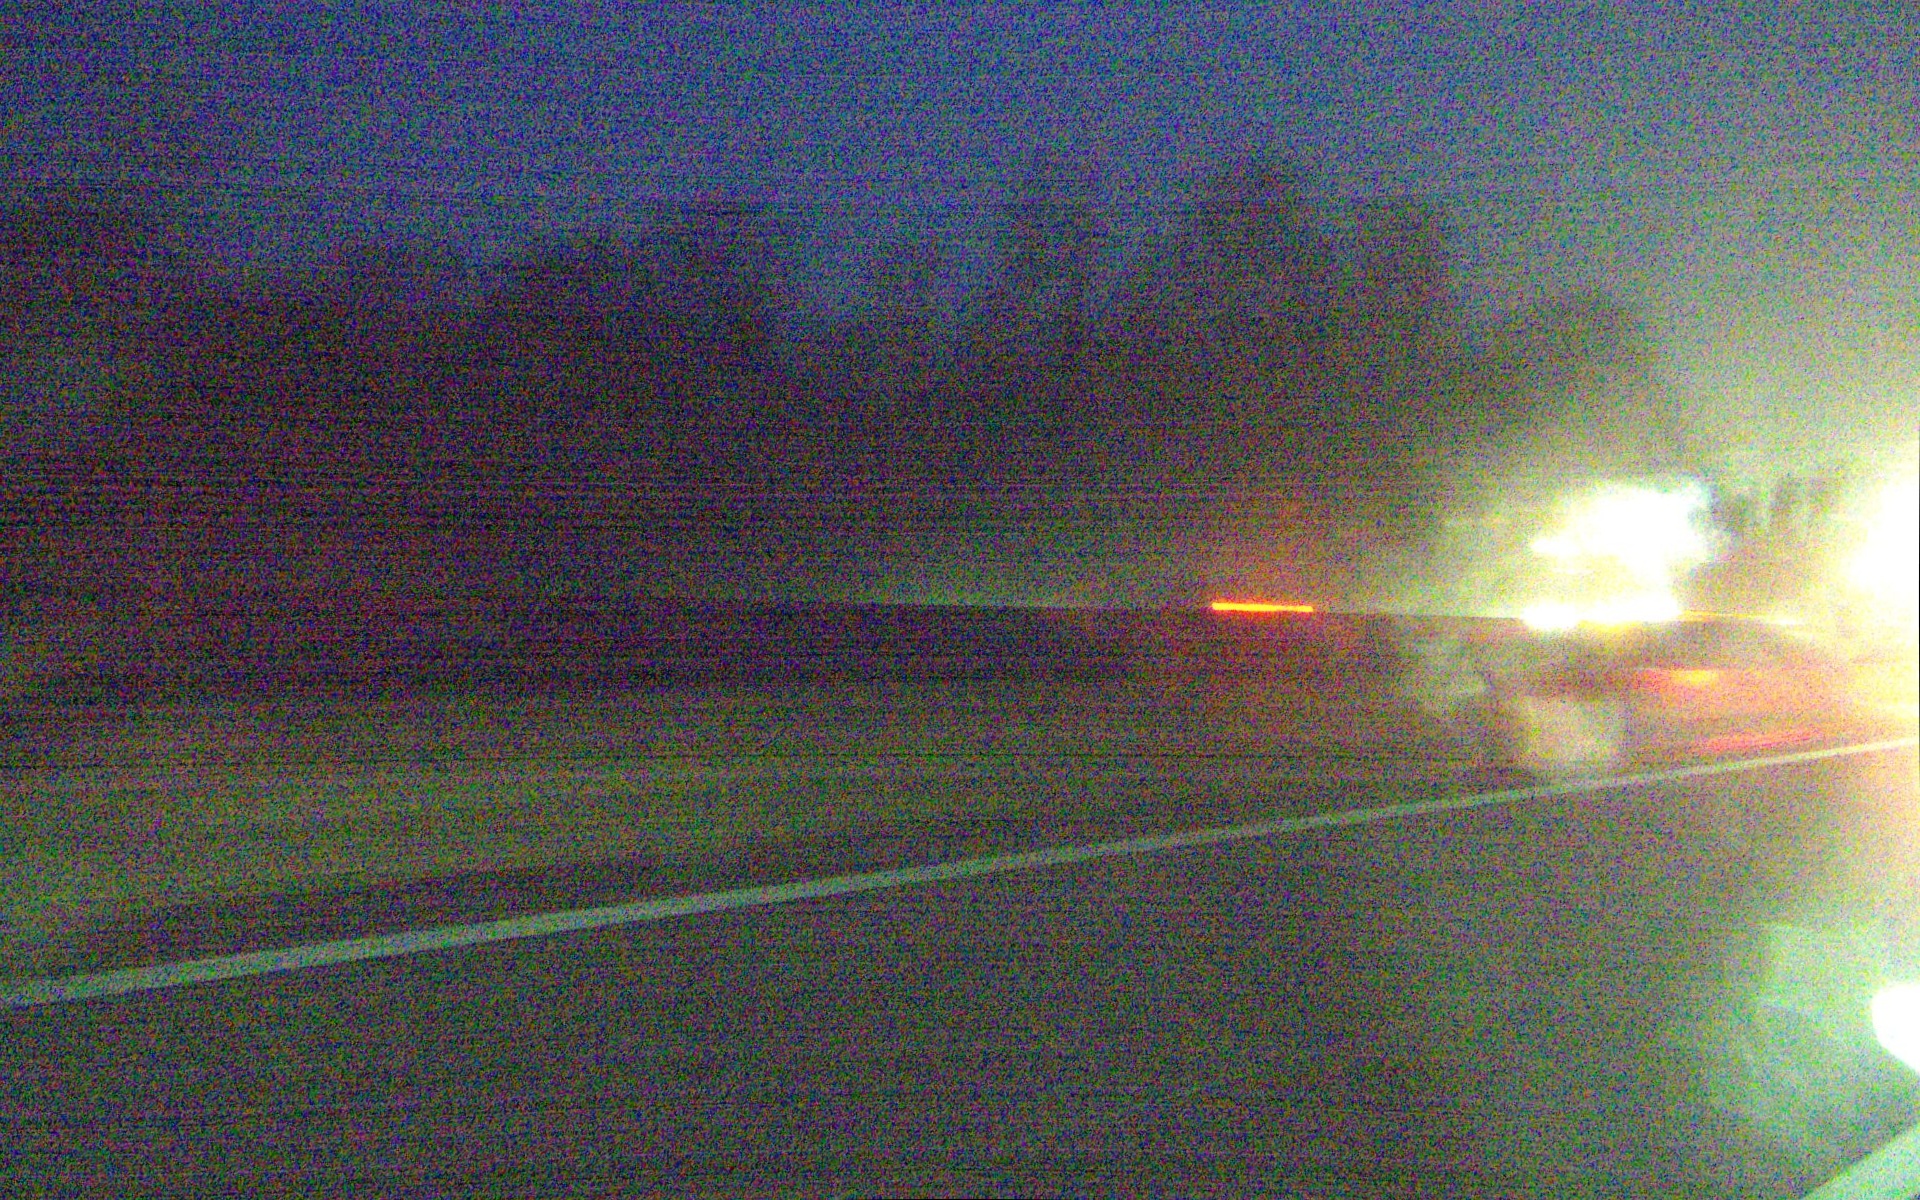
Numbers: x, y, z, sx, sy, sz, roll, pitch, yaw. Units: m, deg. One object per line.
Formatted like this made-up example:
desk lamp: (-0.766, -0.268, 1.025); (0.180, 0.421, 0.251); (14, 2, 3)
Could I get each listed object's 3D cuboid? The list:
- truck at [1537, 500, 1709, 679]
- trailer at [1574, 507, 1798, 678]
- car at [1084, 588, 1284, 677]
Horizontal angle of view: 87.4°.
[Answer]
truck: (24.268, -0.272, 36.643); (6.811, 5.973, 2.884); (2, 0, -35)
trailer: (29.483, -0.096, 40.361); (14.033, 5.973, 2.889); (2, 0, -36)
car: (4.615, 0.654, 20.629); (3.819, 1.670, 1.771); (2, 0, -30)
